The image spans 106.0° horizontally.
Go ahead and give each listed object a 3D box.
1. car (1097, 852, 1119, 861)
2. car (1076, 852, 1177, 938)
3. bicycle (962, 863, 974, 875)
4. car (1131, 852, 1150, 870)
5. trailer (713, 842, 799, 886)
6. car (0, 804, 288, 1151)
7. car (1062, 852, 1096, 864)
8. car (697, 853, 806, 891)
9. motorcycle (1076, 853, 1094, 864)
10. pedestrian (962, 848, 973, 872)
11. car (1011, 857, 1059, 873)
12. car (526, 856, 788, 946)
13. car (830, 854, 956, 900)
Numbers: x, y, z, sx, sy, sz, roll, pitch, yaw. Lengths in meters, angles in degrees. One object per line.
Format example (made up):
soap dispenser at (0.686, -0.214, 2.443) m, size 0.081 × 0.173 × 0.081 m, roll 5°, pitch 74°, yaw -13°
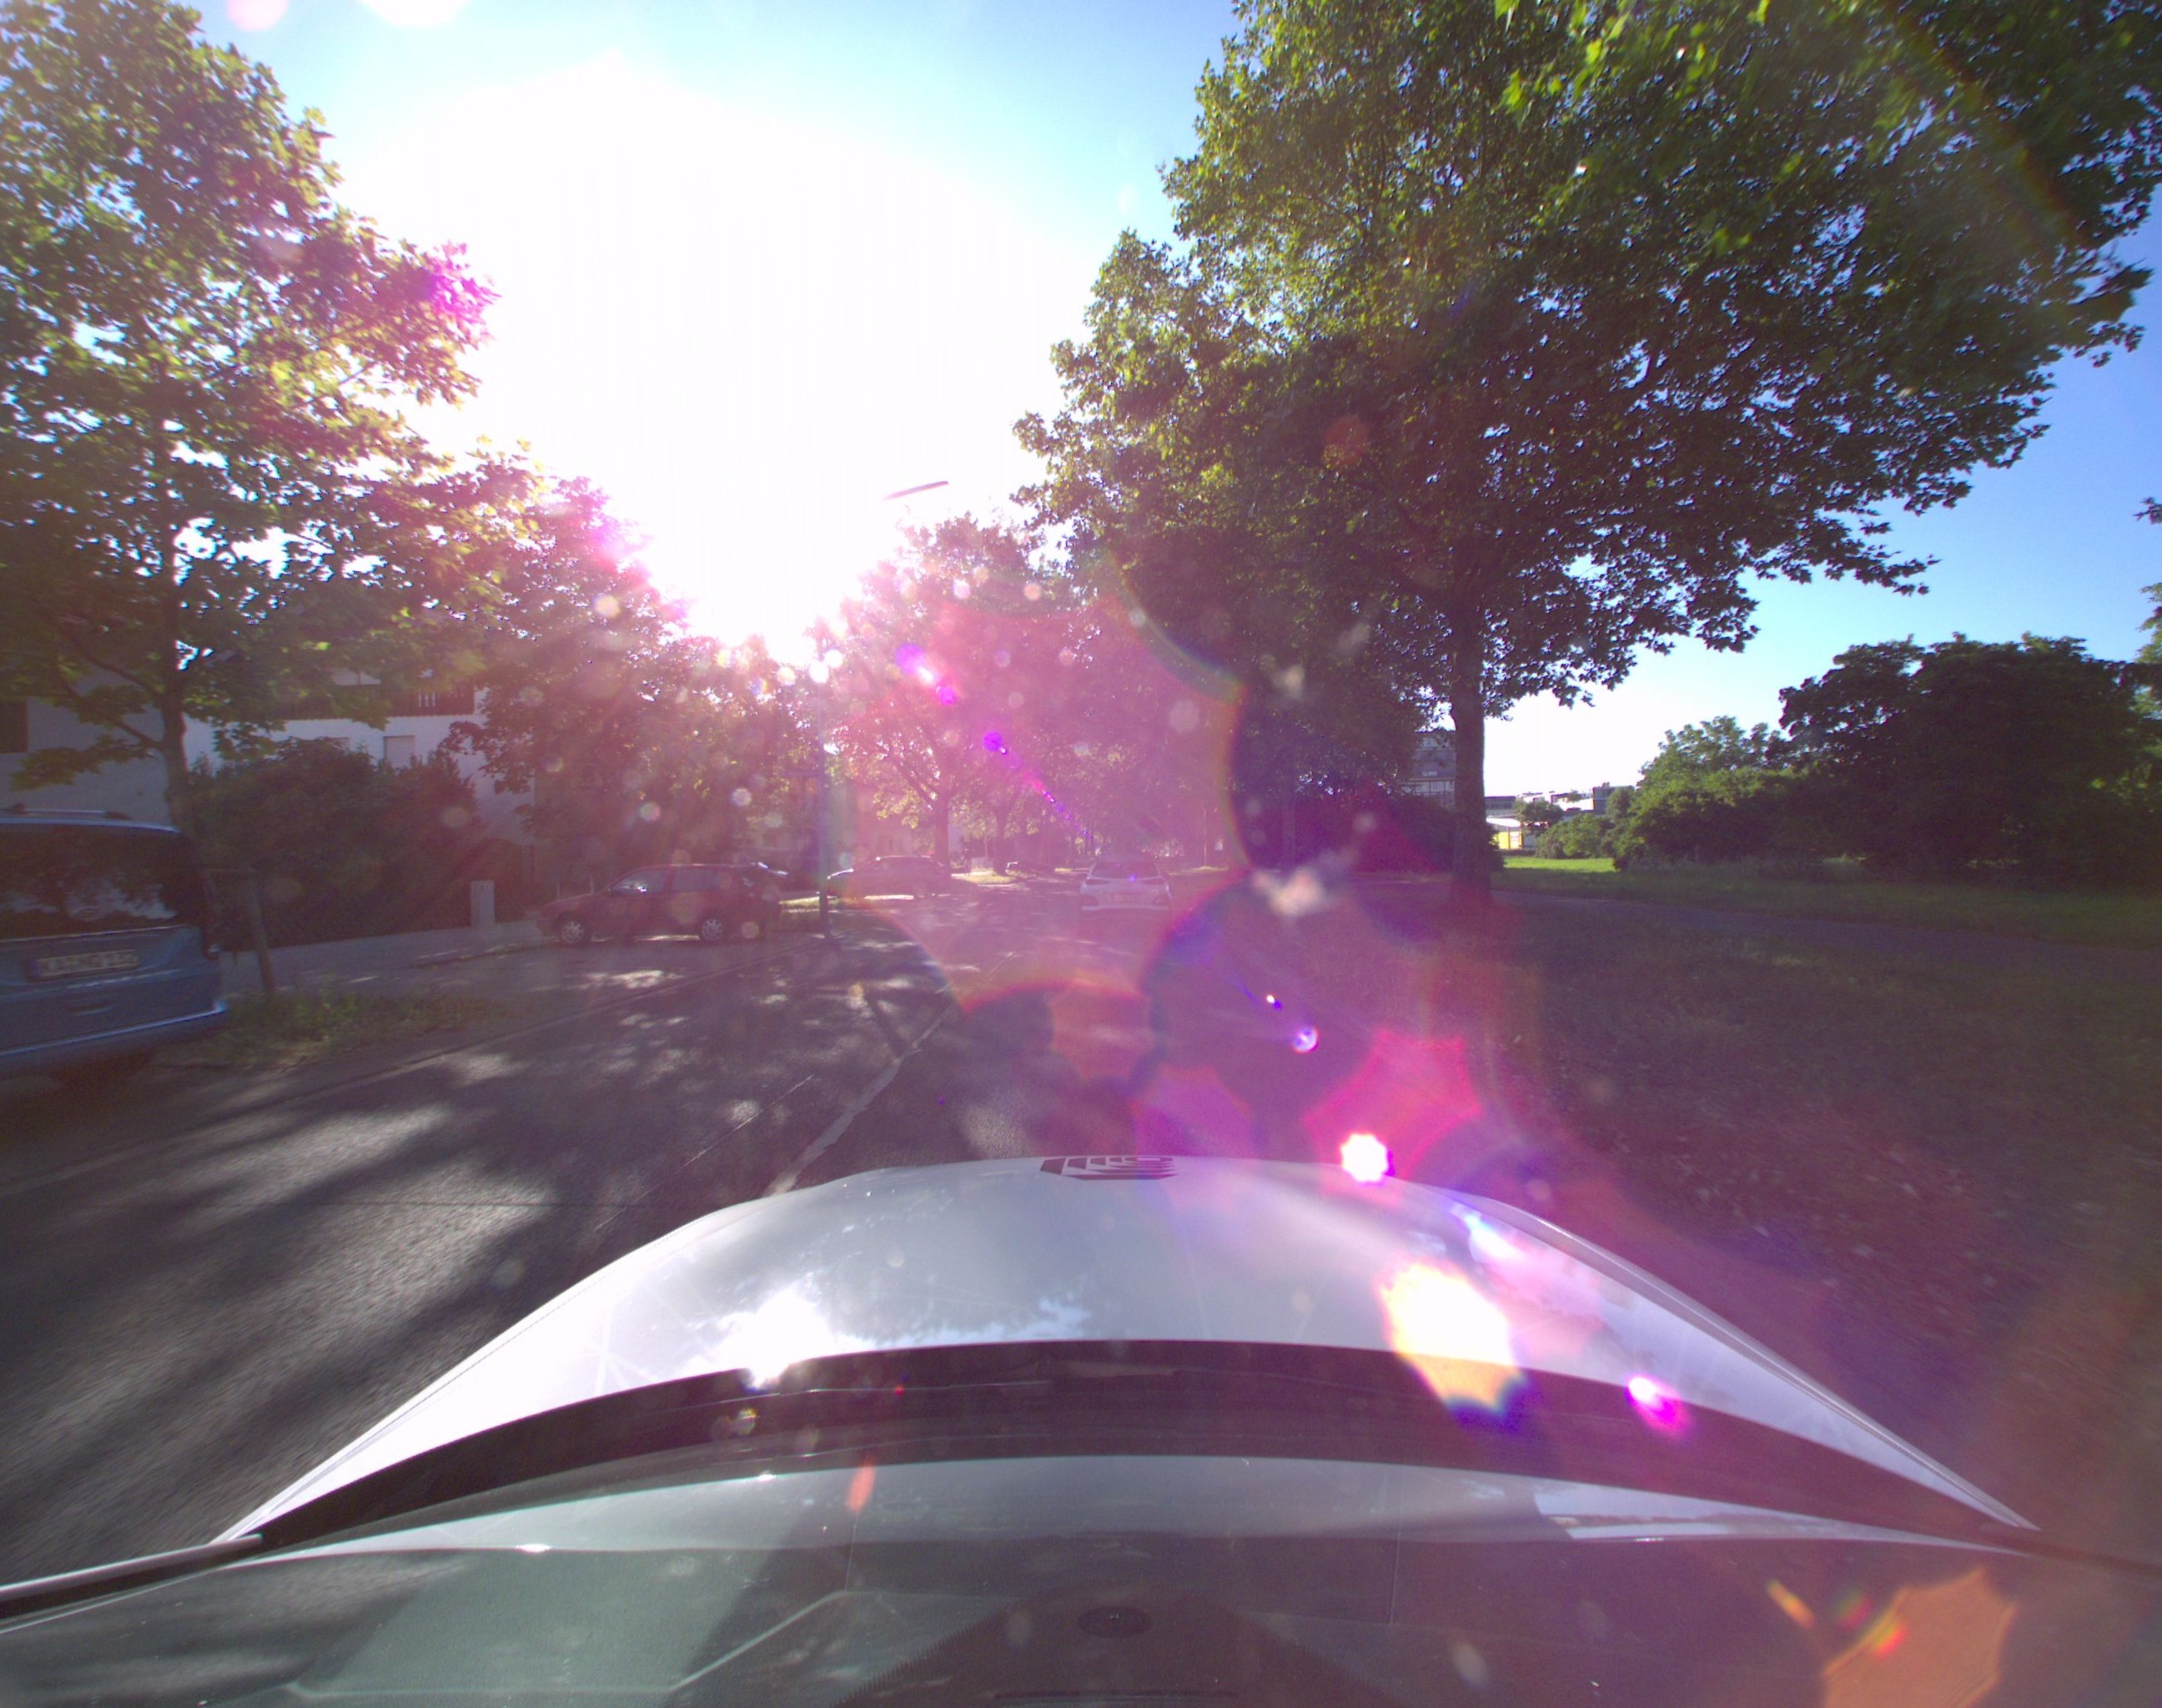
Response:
car at (4.963, 0.470, 151.936) m, size 3.967 × 1.520 × 1.812 m, roll -1°, pitch 0°, yaw 5°
car at (0.826, 0.756, 16.986) m, size 1.830 × 1.555 × 3.999 m, roll -1°, pitch 0°, yaw 0°
bicycle at (-8.397, 1.095, 60.666) m, size 0.467 × 0.880 × 2.158 m, roll -1°, pitch 0°, yaw 4°
car at (5.797, 0.688, 79.928) m, size 1.670 × 1.696 × 3.747 m, roll -1°, pitch 0°, yaw 2°
trailer at (-15.789, 0.481, 39.651) m, size 3.440 × 1.925 × 1.644 m, roll 3°, pitch 1°, yaw 2°
car at (-7.878, 0.659, 4.800) m, size 4.373 × 1.824 × 1.995 m, roll 0°, pitch 0°, yaw -1°
car at (-0.250, 0.516, 104.457) m, size 4.167 × 1.584 × 2.001 m, roll -1°, pitch 0°, yaw 2°
car at (-14.718, 0.795, 36.559) m, size 3.970 × 1.476 × 2.002 m, roll 3°, pitch 0°, yaw 3°
motorcycle at (0.511, 0.630, 106.752) m, size 2.376 × 1.388 × 0.648 m, roll 0°, pitch 1°, yaw 1°
pedestrian at (-8.452, 0.455, 60.696) m, size 0.614 × 1.716 × 1.066 m, roll -1°, pitch 0°, yaw 4°
car at (-3.773, 0.907, 67.247) m, size 3.809 × 1.316 × 1.792 m, roll 0°, pitch 0°, yaw 3°
car at (-7.597, 0.810, 14.865) m, size 3.860 × 1.518 × 1.664 m, roll -1°, pitch 0°, yaw -1°
car at (-6.558, 0.798, 28.708) m, size 3.973 × 1.518 × 1.818 m, roll -1°, pitch 0°, yaw 1°
